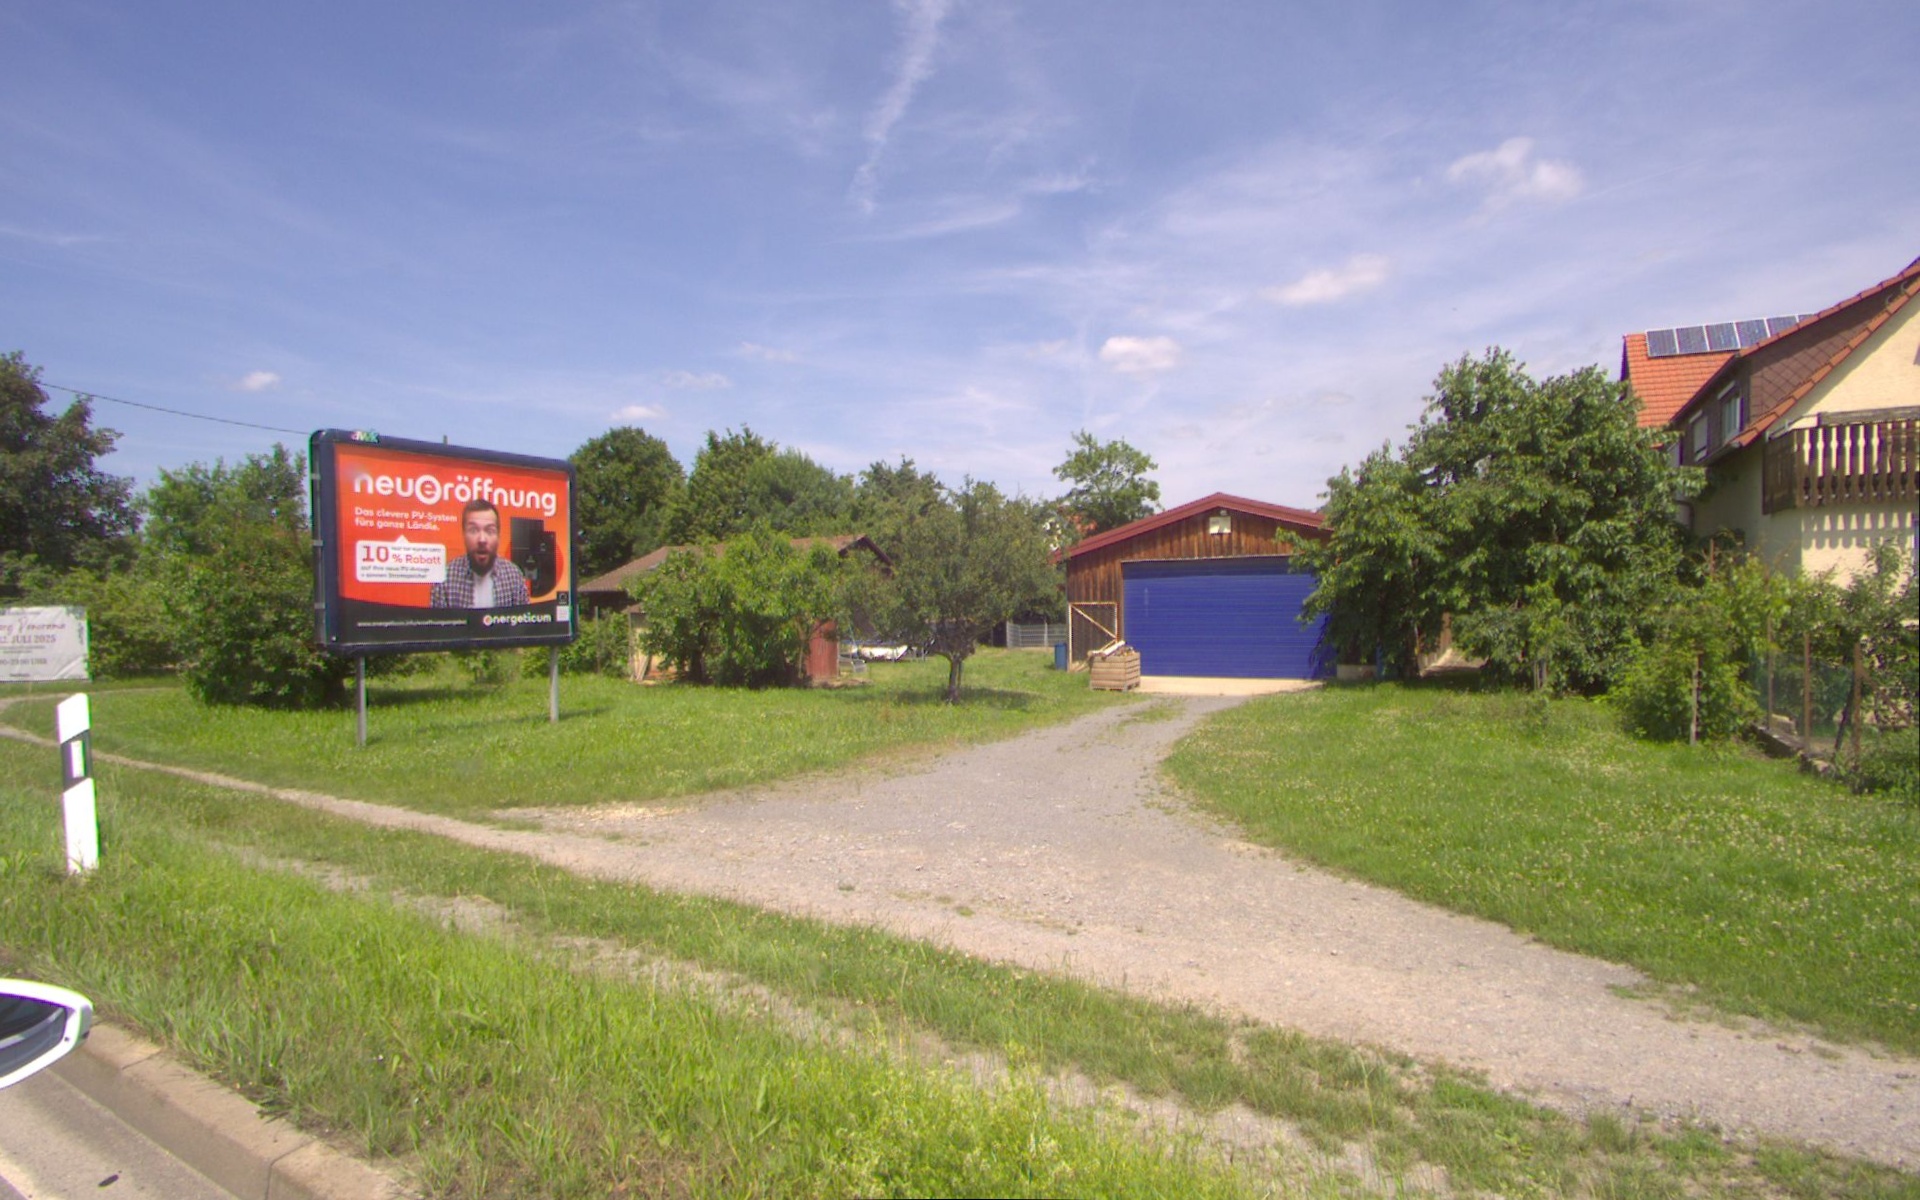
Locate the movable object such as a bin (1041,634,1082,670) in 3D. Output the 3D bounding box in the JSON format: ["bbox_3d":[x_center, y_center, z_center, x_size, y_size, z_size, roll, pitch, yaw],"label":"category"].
[{"bbox_3d":[3.104,1.566,30.495,1.044,1.046,1.040,0,0,17],"label":"movable object such as a bin"}]

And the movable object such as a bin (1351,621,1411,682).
[{"bbox_3d":[10.227,1.244,24.309,1.050,1.414,1.271,-5,-3,33],"label":"movable object such as a bin"}]
